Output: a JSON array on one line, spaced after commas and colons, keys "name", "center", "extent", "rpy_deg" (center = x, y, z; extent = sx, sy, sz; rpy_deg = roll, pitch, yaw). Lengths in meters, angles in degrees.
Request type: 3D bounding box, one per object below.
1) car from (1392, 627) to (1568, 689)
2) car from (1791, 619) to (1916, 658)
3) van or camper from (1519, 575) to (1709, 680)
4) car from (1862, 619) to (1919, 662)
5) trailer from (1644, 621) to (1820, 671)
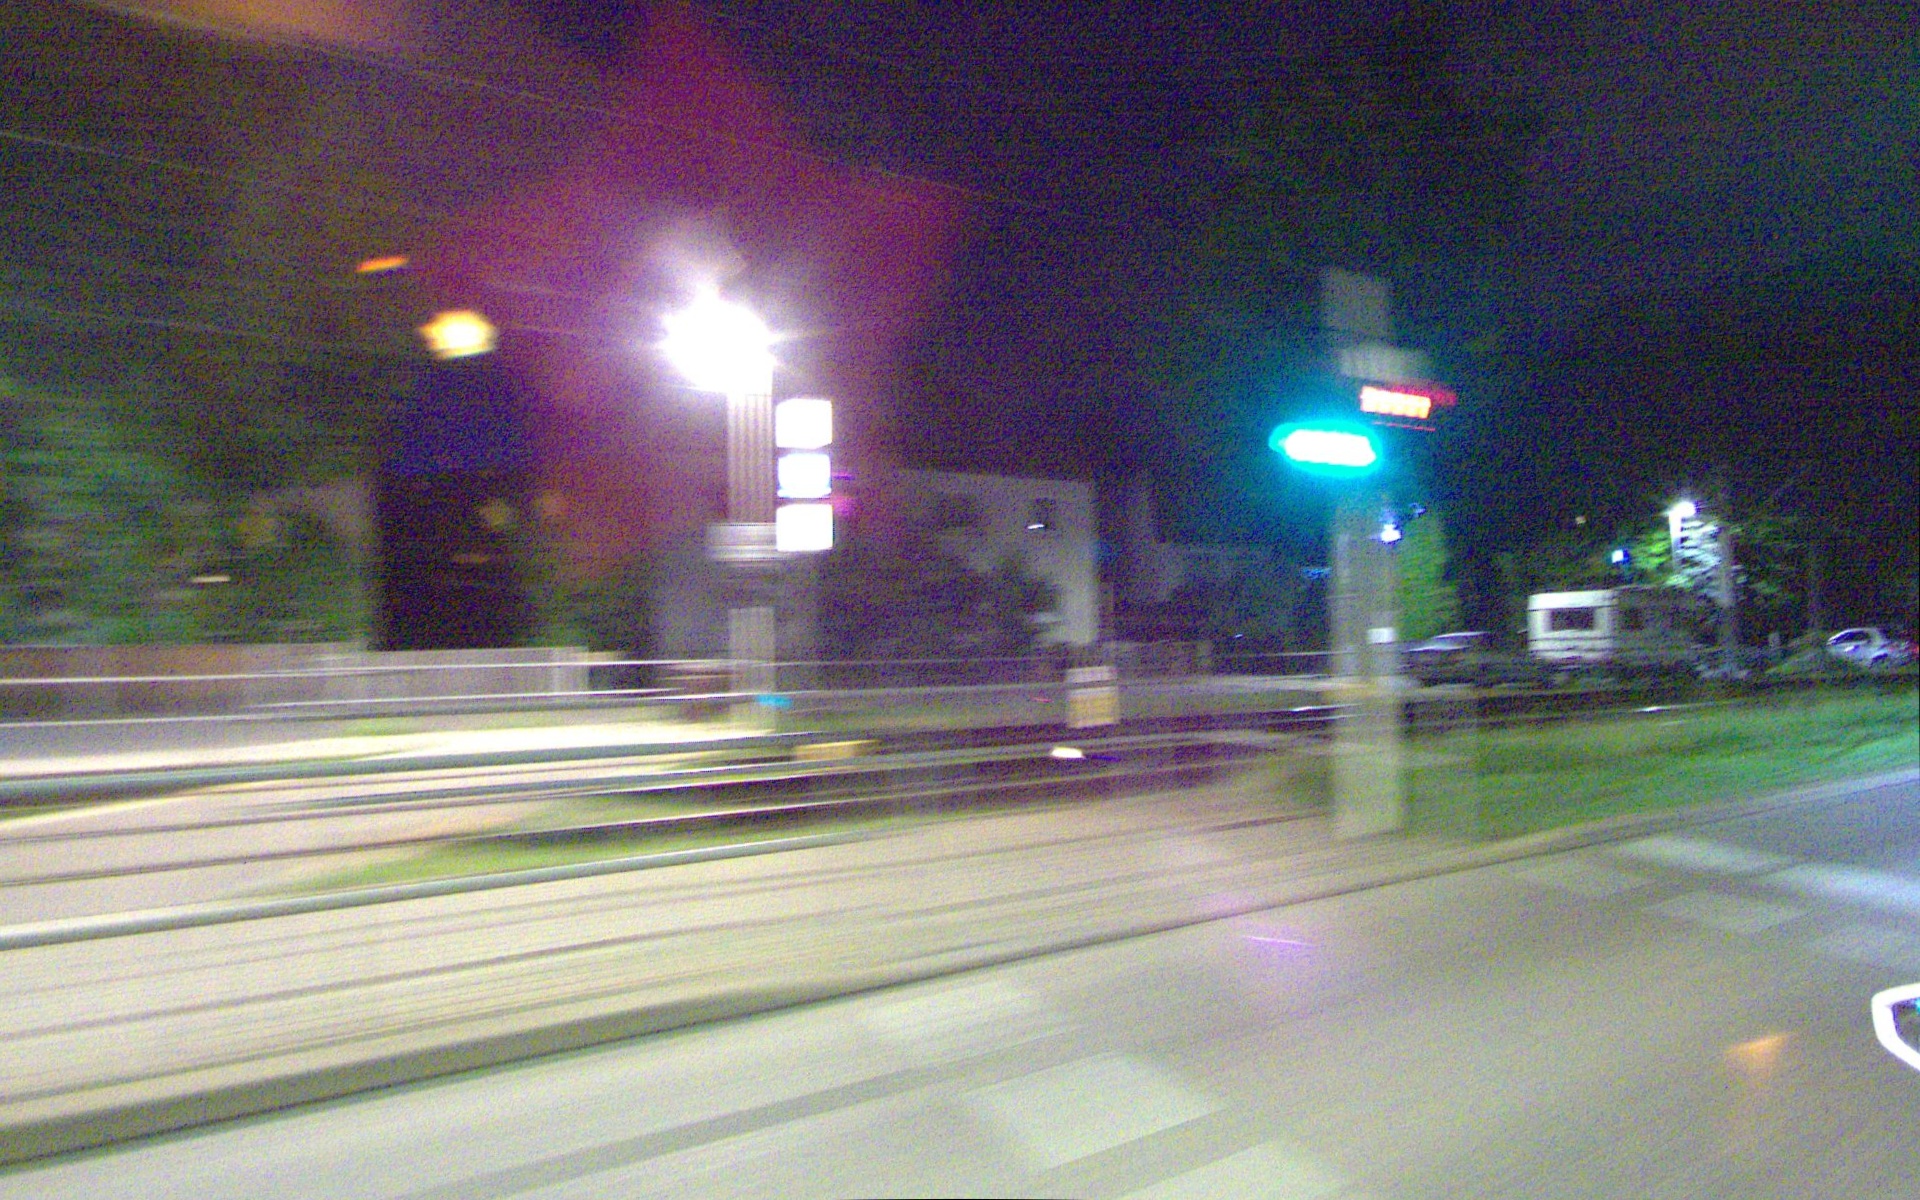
[{"name": "car", "center": [13.054, 1.436, 25.144], "extent": [4.487, 1.356, 1.640], "rpy_deg": [0, -6, -29]}, {"name": "car", "center": [31.807, 1.350, 35.817], "extent": [1.517, 1.343, 3.012], "rpy_deg": [1, -2, -32]}, {"name": "van or camper", "center": [18.484, 0.798, 28.303], "extent": [5.601, 2.681, 2.261], "rpy_deg": [0, -4, -32]}, {"name": "car", "center": [36.735, 1.500, 38.117], "extent": [5.102, 1.542, 1.896], "rpy_deg": [0, -1, -26]}, {"name": "trailer", "center": [24.350, 1.462, 31.709], "extent": [4.589, 1.392, 2.416], "rpy_deg": [0, -5, -23]}]
